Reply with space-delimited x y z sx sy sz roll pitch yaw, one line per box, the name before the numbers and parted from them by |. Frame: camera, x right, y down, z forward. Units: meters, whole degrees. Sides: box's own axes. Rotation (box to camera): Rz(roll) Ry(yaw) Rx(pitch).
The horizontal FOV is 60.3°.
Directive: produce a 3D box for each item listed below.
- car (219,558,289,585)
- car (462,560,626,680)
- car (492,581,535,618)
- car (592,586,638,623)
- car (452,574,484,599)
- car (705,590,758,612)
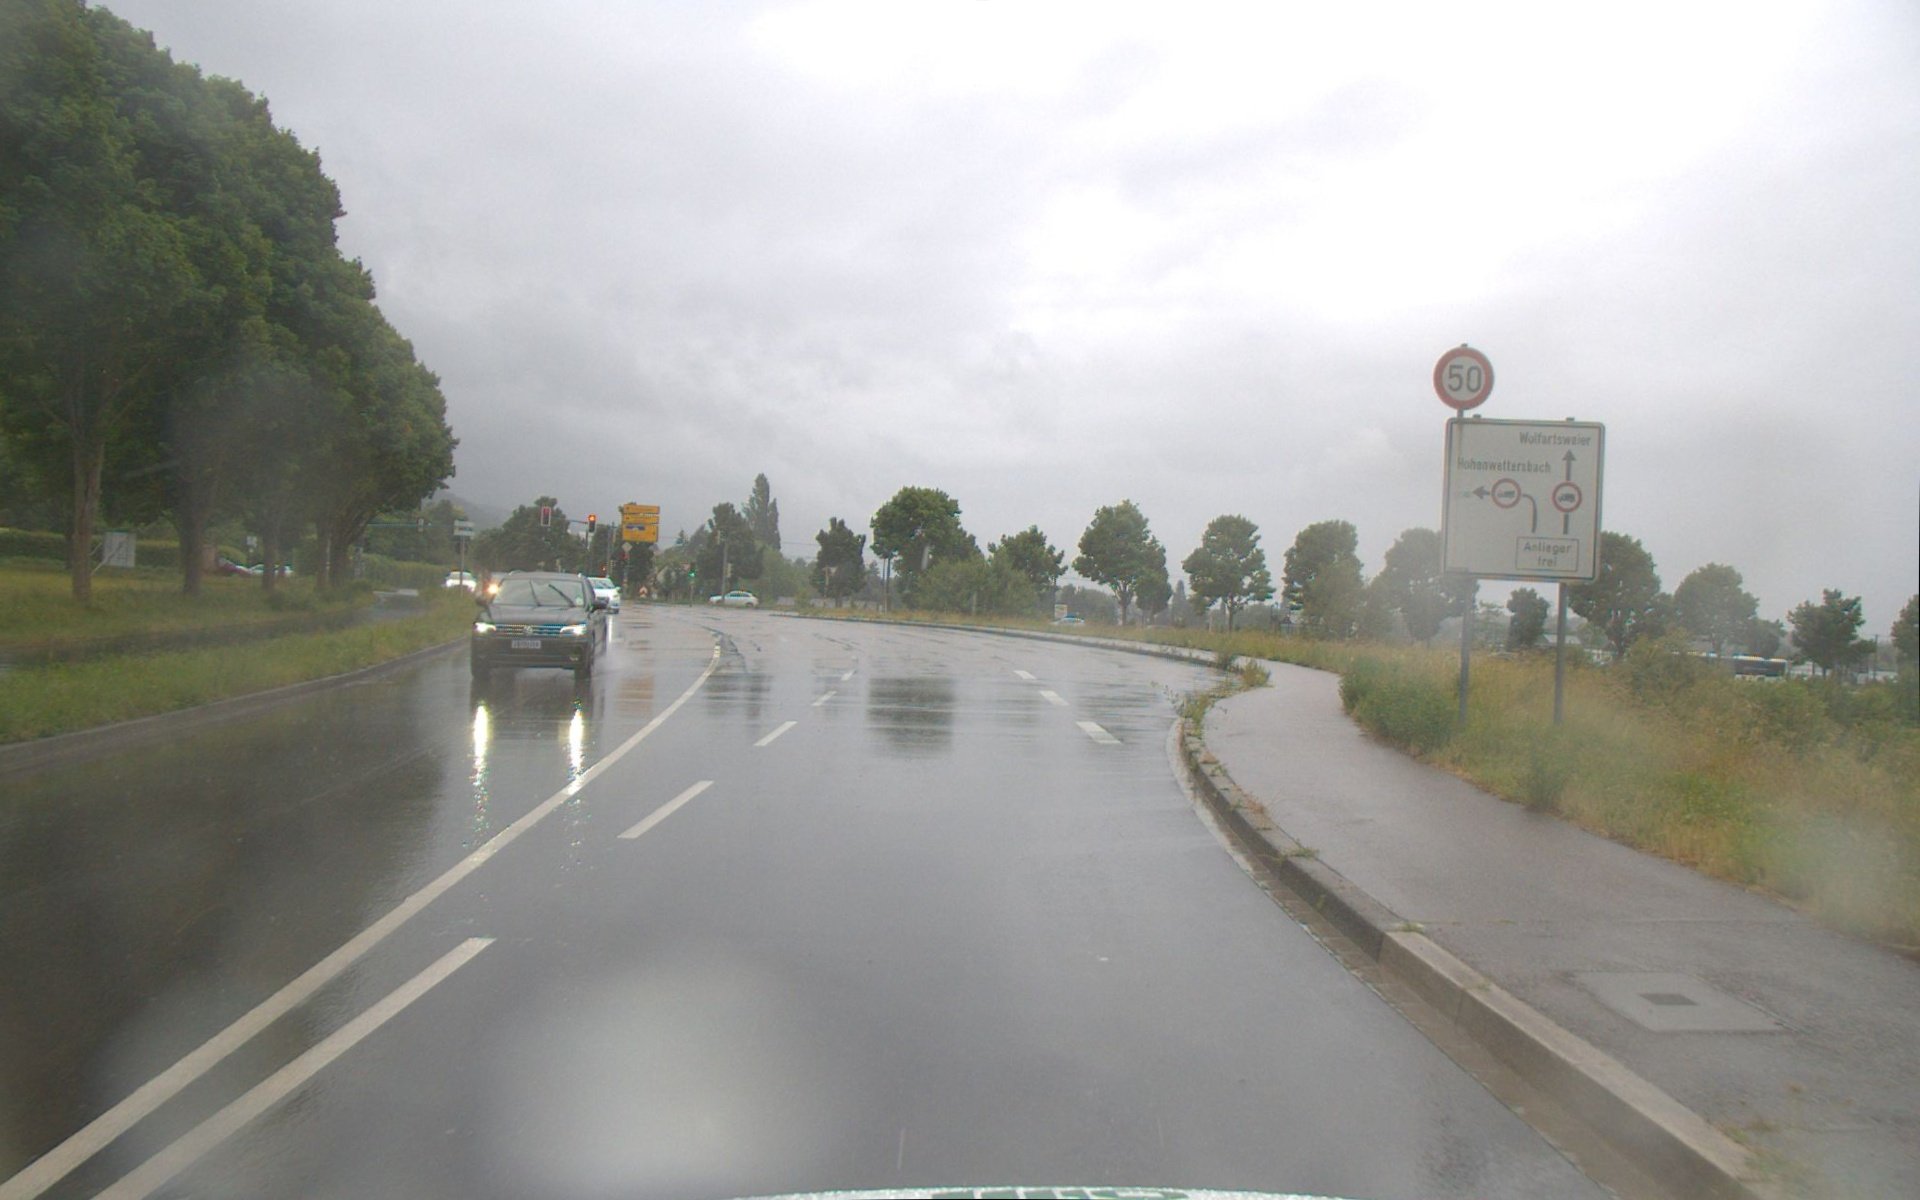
car | -50.414 -2.019 118.162 4.303 1.607 1.725 4 0 -15
car | -6.671 0.292 26.967 1.886 1.774 4.284 1 0 -5
car | -22.106 -0.041 82.040 1.853 1.615 4.103 5 -1 -14
car | -14.783 0.161 70.981 1.707 1.513 4.002 1 0 -9
car | -32.120 -0.876 107.947 1.850 1.601 4.621 1 0 -18
car | -19.870 0.059 143.591 4.303 1.607 1.725 4 0 -16
